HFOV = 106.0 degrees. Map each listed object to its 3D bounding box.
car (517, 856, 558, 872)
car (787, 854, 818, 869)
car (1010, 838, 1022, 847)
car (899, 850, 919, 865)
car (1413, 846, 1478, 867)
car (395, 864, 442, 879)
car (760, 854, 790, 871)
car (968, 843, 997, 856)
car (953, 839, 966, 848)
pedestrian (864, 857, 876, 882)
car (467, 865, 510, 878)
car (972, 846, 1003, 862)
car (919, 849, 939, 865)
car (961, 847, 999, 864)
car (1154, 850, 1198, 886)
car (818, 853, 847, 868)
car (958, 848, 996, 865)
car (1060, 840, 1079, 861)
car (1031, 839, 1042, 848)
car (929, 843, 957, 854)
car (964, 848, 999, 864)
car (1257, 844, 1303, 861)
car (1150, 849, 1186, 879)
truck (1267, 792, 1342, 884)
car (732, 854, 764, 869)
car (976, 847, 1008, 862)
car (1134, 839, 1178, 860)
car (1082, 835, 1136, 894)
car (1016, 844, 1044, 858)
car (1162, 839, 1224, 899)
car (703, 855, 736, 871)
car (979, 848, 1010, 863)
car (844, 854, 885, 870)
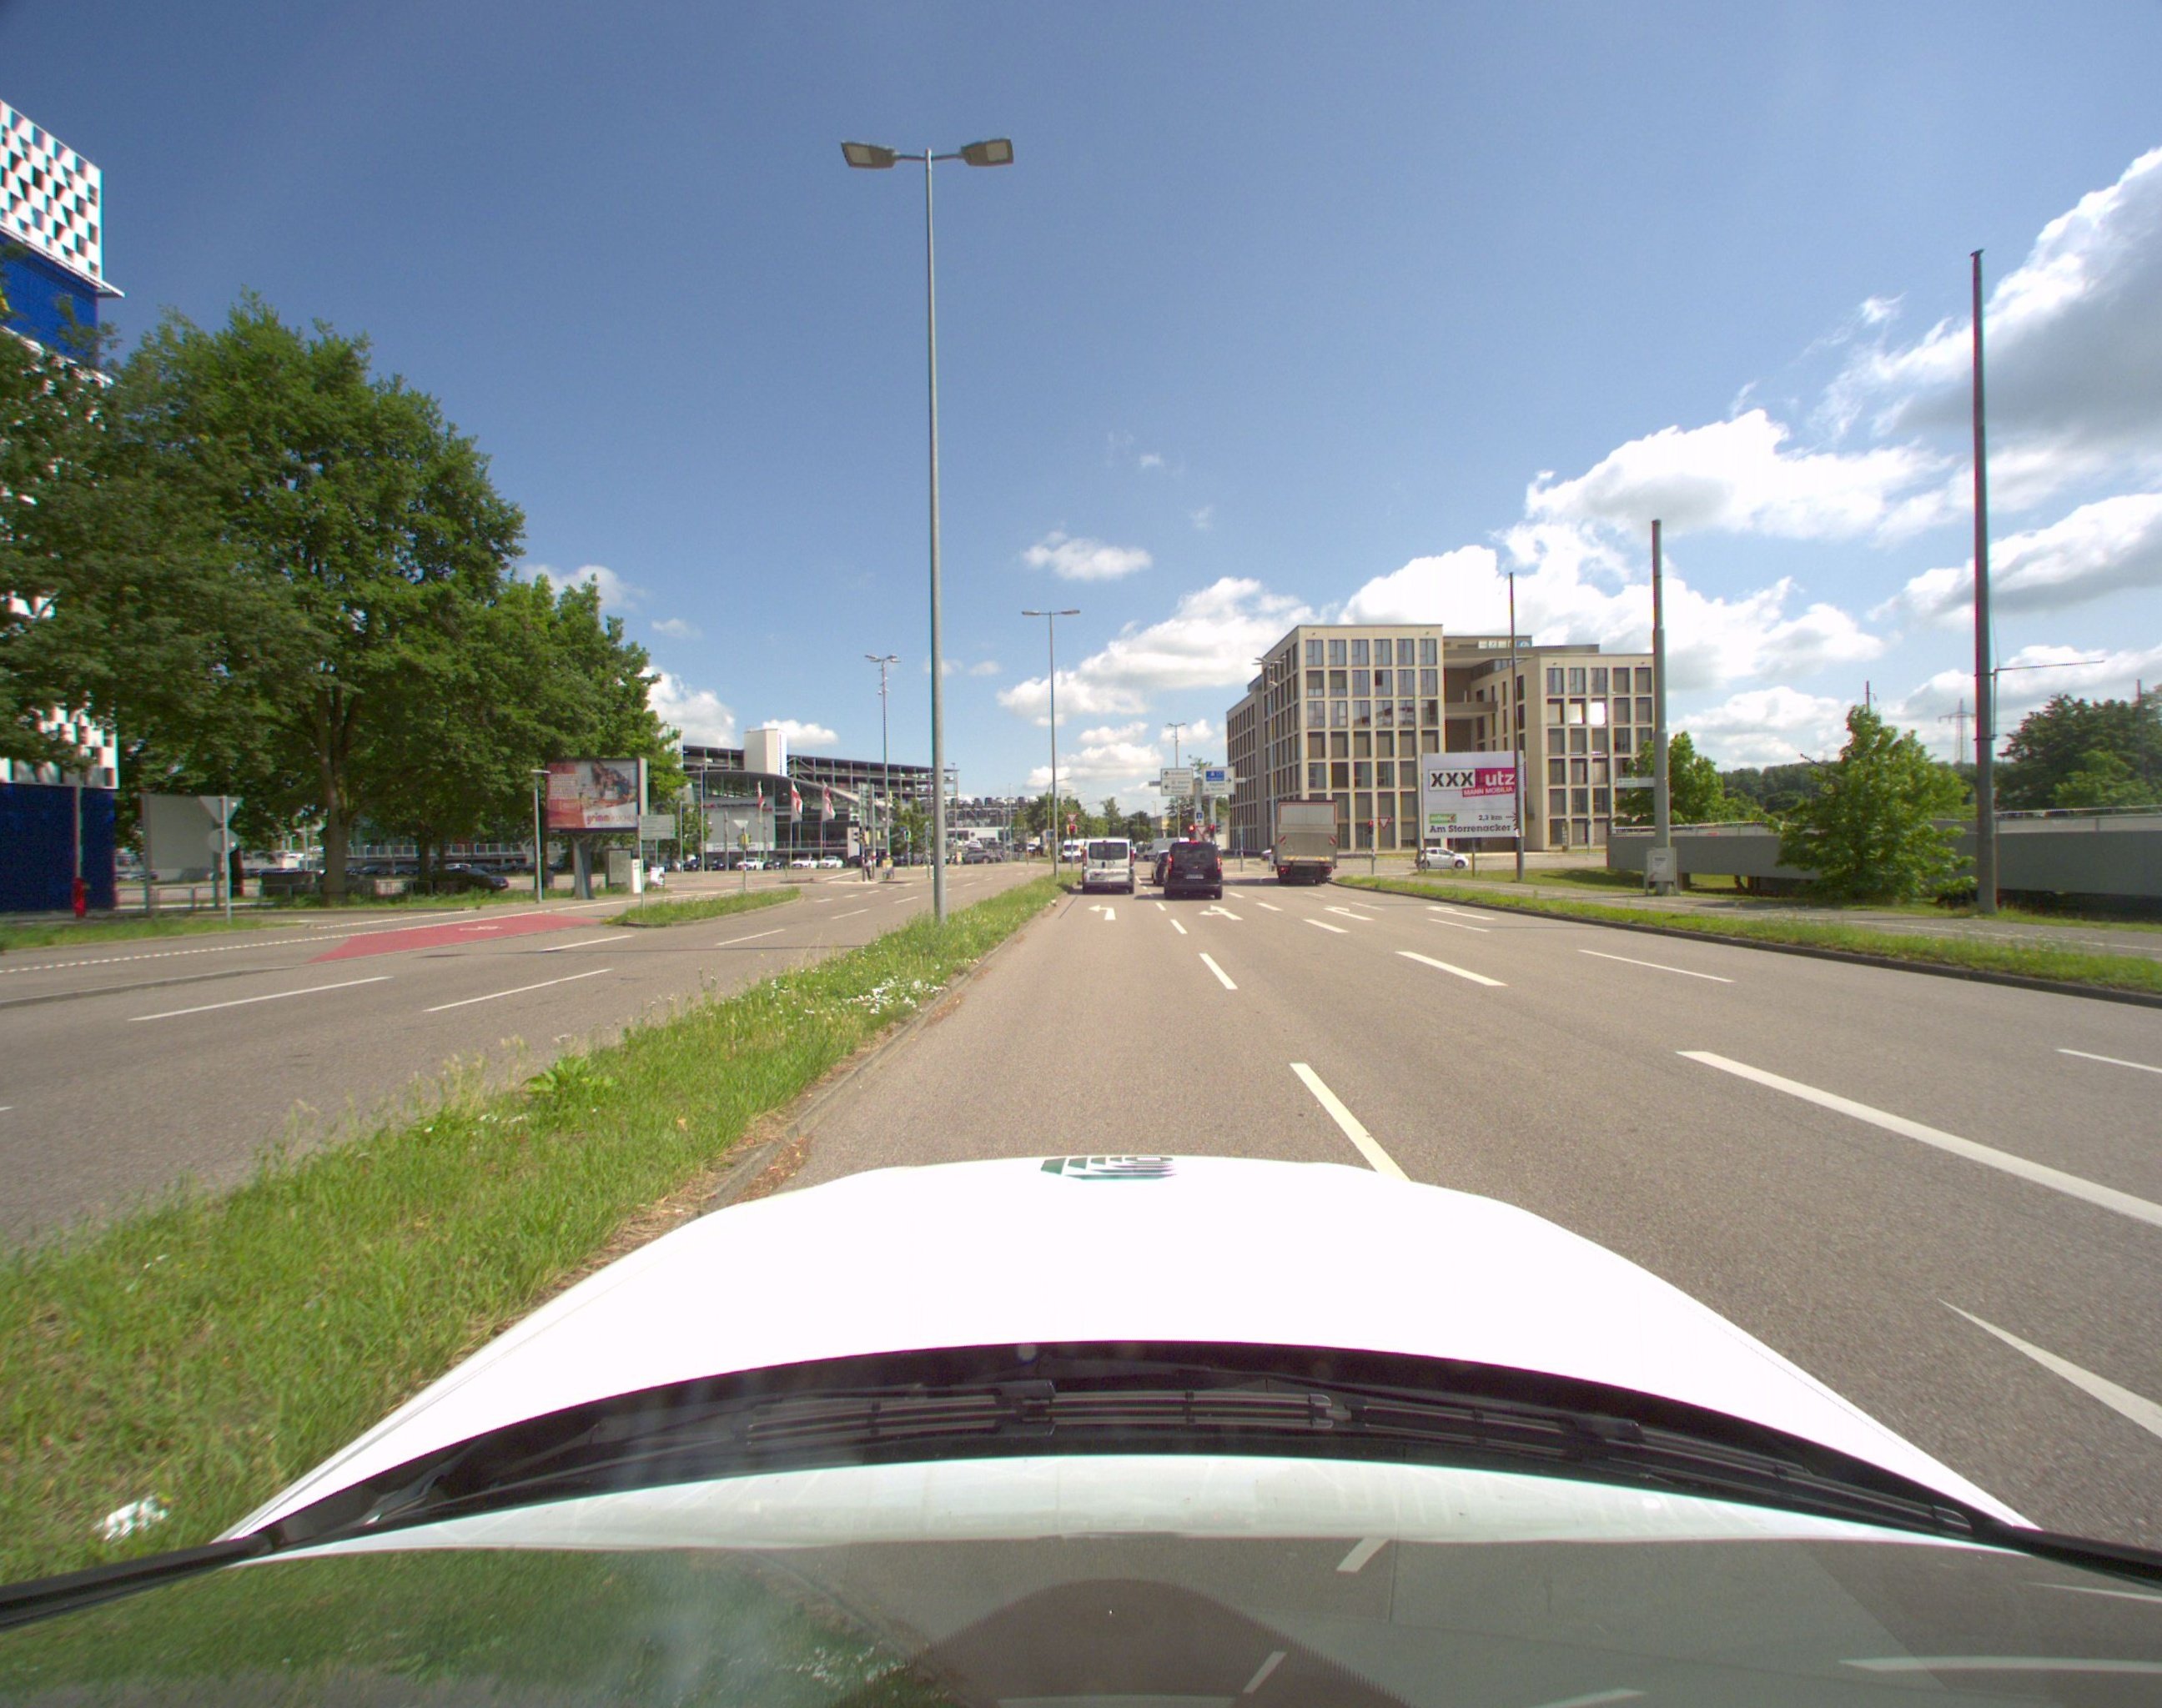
[{"bbox_3d":[-55.535,0.986,83.252,1.723,1.486,3.699,0,1,-2],"label":"car"},{"bbox_3d":[-28.458,0.773,83.321,1.902,1.376,3.750,0,1,-2],"label":"car"},{"bbox_3d":[-11.277,-2.016,141.028,1.841,1.530,3.997,0,1,-2],"label":"car"},{"bbox_3d":[-17.609,0.365,83.444,1.820,1.552,3.980,0,0,-15],"label":"car"},{"bbox_3d":[25.655,0.173,57.407,3.836,1.466,1.696,0,1,1],"label":"car"},{"bbox_3d":[-64.043,1.644,78.766,1.585,1.390,3.506,0,0,2],"label":"car"},{"bbox_3d":[-31.132,0.816,82.919,1.752,1.660,3.614,0,1,-2],"label":"car"},{"bbox_3d":[-14.440,-0.660,119.666,4.157,1.712,1.687,1,1,-4],"label":"car"},{"bbox_3d":[-21.285,-1.867,142.711,1.841,1.530,3.997,0,1,-2],"label":"car"},{"bbox_3d":[-12.847,0.951,49.511,0.464,1.512,0.515,0,0,27],"label":"pedestrian"},{"bbox_3d":[-59.121,1.764,81.267,1.585,1.191,3.506,-1,0,2],"label":"car"},{"bbox_3d":[-11.289,-0.022,98.760,3.498,1.712,1.602,-2,1,-2],"label":"car"},{"bbox_3d":[-15.726,0.290,84.219,1.820,1.552,3.980,0,0,-15],"label":"car"},{"bbox_3d":[-11.307,0.179,91.318,3.902,1.712,1.688,-2,1,-2],"label":"car"},{"bbox_3d":[4.189,0.590,36.459,1.733,1.495,4.003,0,0,3],"label":"car"},{"bbox_3d":[-25.459,0.674,83.449,1.771,1.450,4.027,0,1,-2],"label":"car"},{"bbox_3d":[-11.315,0.302,88.912,3.851,1.639,1.857,-2,1,-2],"label":"car"},{"bbox_3d":[-1.290,-0.451,91.354,1.966,2.256,4.977,-2,1,-2],"label":"car"},{"bbox_3d":[-7.692,-1.849,141.301,1.841,1.530,3.997,0,1,-2],"label":"car"},{"bbox_3d":[-21.780,-0.911,128.207,4.156,1.713,1.686,0,0,-4],"label":"car"},{"bbox_3d":[-11.736,0.237,95.905,3.902,1.712,1.688,-2,1,-2],"label":"car"},{"bbox_3d":[18.412,-0.173,75.377,3.880,1.490,1.795,0,1,1],"label":"car"},{"bbox_3d":[4.577,0.504,43.253,1.733,1.543,4.003,0,0,3],"label":"car"},{"bbox_3d":[10.731,-0.684,39.555,3.107,3.940,8.891,0,0,14],"label":"truck"},{"bbox_3d":[-33.891,0.749,82.967,1.874,1.486,3.699,0,1,-2],"label":"car"},{"bbox_3d":[-11.370,0.084,104.496,3.902,1.712,1.688,-2,1,-2],"label":"car"},{"bbox_3d":[8.430,-0.545,91.920,2.008,2.255,5.458,-1,1,-33],"label":"car"},{"bbox_3d":[1.102,0.366,30.235,1.847,2.018,4.005,0,0,4],"label":"car"},{"bbox_3d":[-7.543,-0.460,120.254,3.980,1.926,1.824,0,0,-5],"label":"car"},{"bbox_3d":[3.618,0.446,26.864,1.811,1.809,4.006,0,0,5],"label":"car"},{"bbox_3d":[-36.724,0.935,82.869,1.723,1.486,3.699,0,1,-2],"label":"car"},{"bbox_3d":[-11.350,0.184,106.881,3.902,1.712,1.688,-2,1,-2],"label":"car"},{"bbox_3d":[-22.078,0.828,83.136,3.784,1.513,1.677,0,1,-3],"label":"car"}]
